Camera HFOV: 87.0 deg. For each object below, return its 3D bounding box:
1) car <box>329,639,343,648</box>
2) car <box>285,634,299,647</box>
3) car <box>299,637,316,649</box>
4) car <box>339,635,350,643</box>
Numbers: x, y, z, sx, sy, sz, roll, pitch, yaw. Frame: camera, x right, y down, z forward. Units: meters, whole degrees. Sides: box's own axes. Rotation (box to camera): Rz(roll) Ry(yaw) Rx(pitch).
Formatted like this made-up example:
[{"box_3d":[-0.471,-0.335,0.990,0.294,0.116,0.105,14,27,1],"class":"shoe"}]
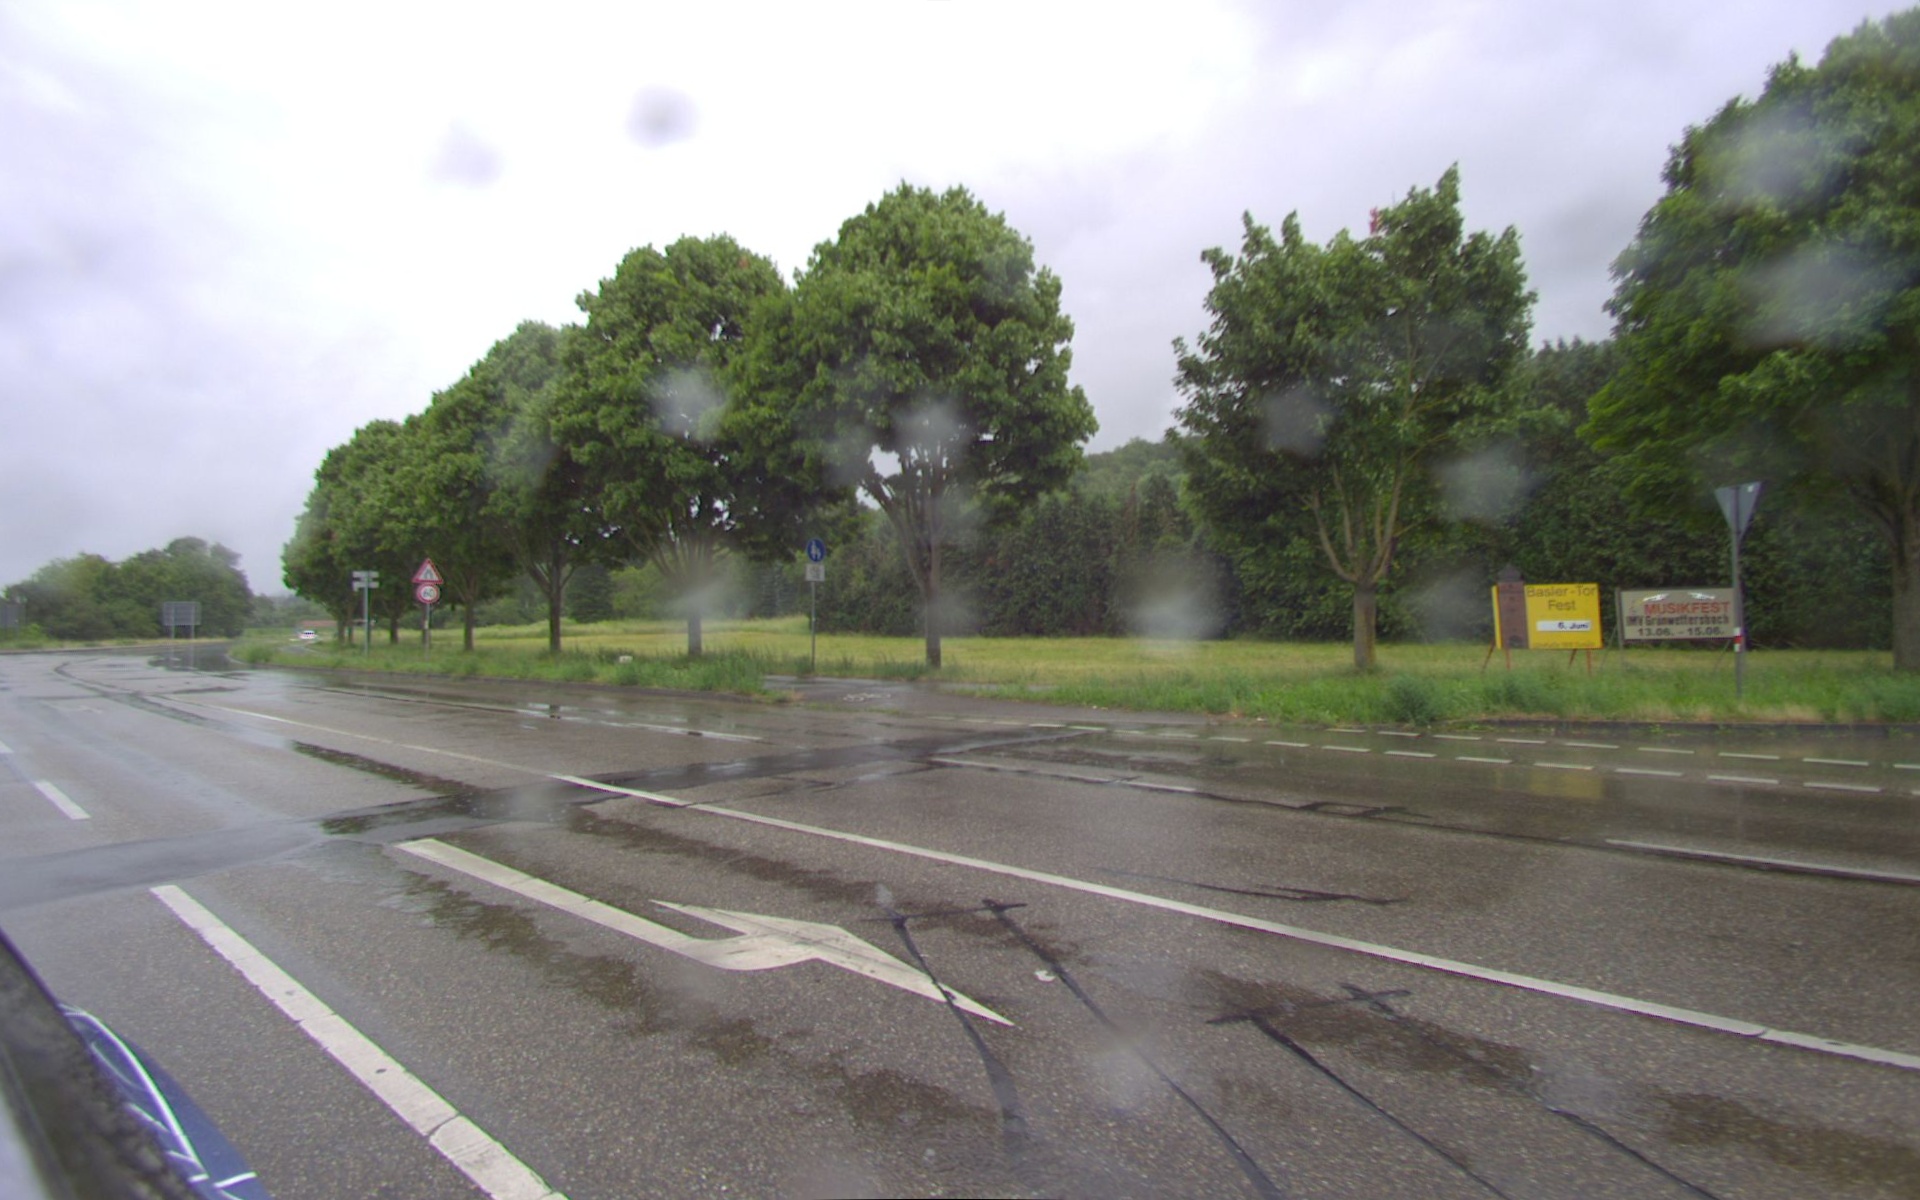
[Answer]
[{"box_3d":[-113.640,7.884,184.182,1.859,1.599,4.129,-2,0,-35],"class":"car"},{"box_3d":[-101.812,6.191,154.170,1.716,2.006,4.021,2,-3,-34],"class":"car"},{"box_3d":[-93.622,6.139,145.301,1.853,1.585,4.658,2,-2,-31],"class":"car"},{"box_3d":[-121.444,7.661,199.615,1.715,1.498,4.022,2,-2,-33],"class":"car"}]
